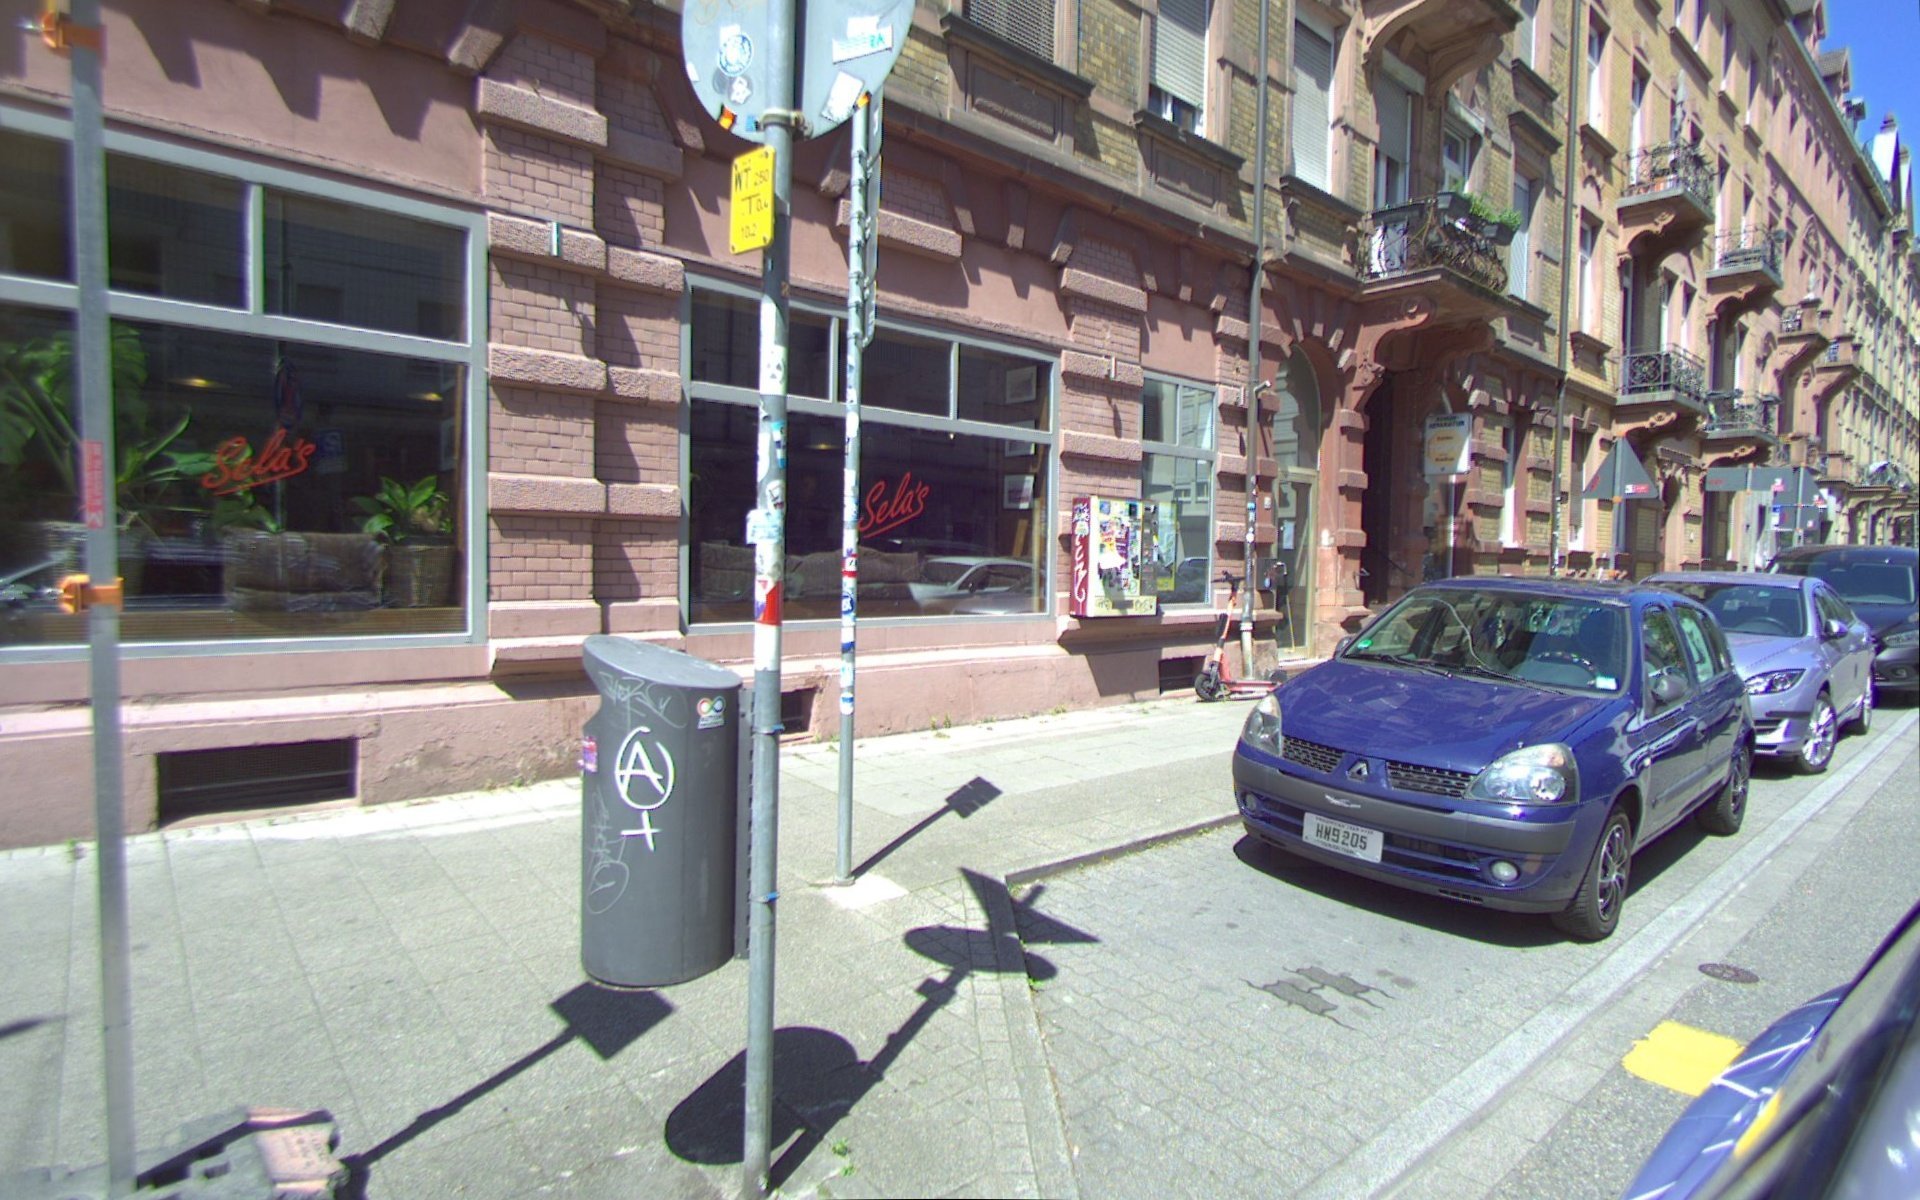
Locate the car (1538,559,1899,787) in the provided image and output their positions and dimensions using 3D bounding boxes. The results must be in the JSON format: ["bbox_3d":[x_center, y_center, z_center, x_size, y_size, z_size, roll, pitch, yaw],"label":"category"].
[{"bbox_3d":[6.733,0.411,8.782,4.411,1.449,1.728,-2,4,-43],"label":"car"}]

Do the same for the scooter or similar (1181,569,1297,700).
[{"bbox_3d":[2.683,0.307,9.697,1.247,1.191,0.294,0,2,-32],"label":"scooter or similar"}]

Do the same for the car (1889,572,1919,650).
[{"bbox_3d":[19.712,0.174,20.146,1.760,1.467,3.846,1,2,43],"label":"car"}]

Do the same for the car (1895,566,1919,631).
[{"bbox_3d":[23.782,-0.065,24.225,3.934,1.479,1.827,-2,2,-44],"label":"car"}]

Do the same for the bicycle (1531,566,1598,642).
[{"bbox_3d":[9.335,0.046,15.602,1.725,1.117,0.354,-1,2,-42],"label":"bicycle"}]

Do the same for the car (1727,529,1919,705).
[{"bbox_3d":[10.945,0.097,12.300,4.265,1.788,1.827,-2,4,-43],"label":"car"}]

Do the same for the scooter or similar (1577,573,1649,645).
[{"bbox_3d":[11.182,0.130,17.301,2.112,1.167,0.477,-1,2,-42],"label":"scooter or similar"}]

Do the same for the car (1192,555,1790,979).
[{"bbox_3d":[2.981,0.528,5.360,3.598,1.449,1.630,-1,4,-42],"label":"car"}]

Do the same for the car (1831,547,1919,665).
[{"bbox_3d":[15.671,0.040,16.489,3.931,1.755,1.704,-1,2,-41],"label":"car"}]
